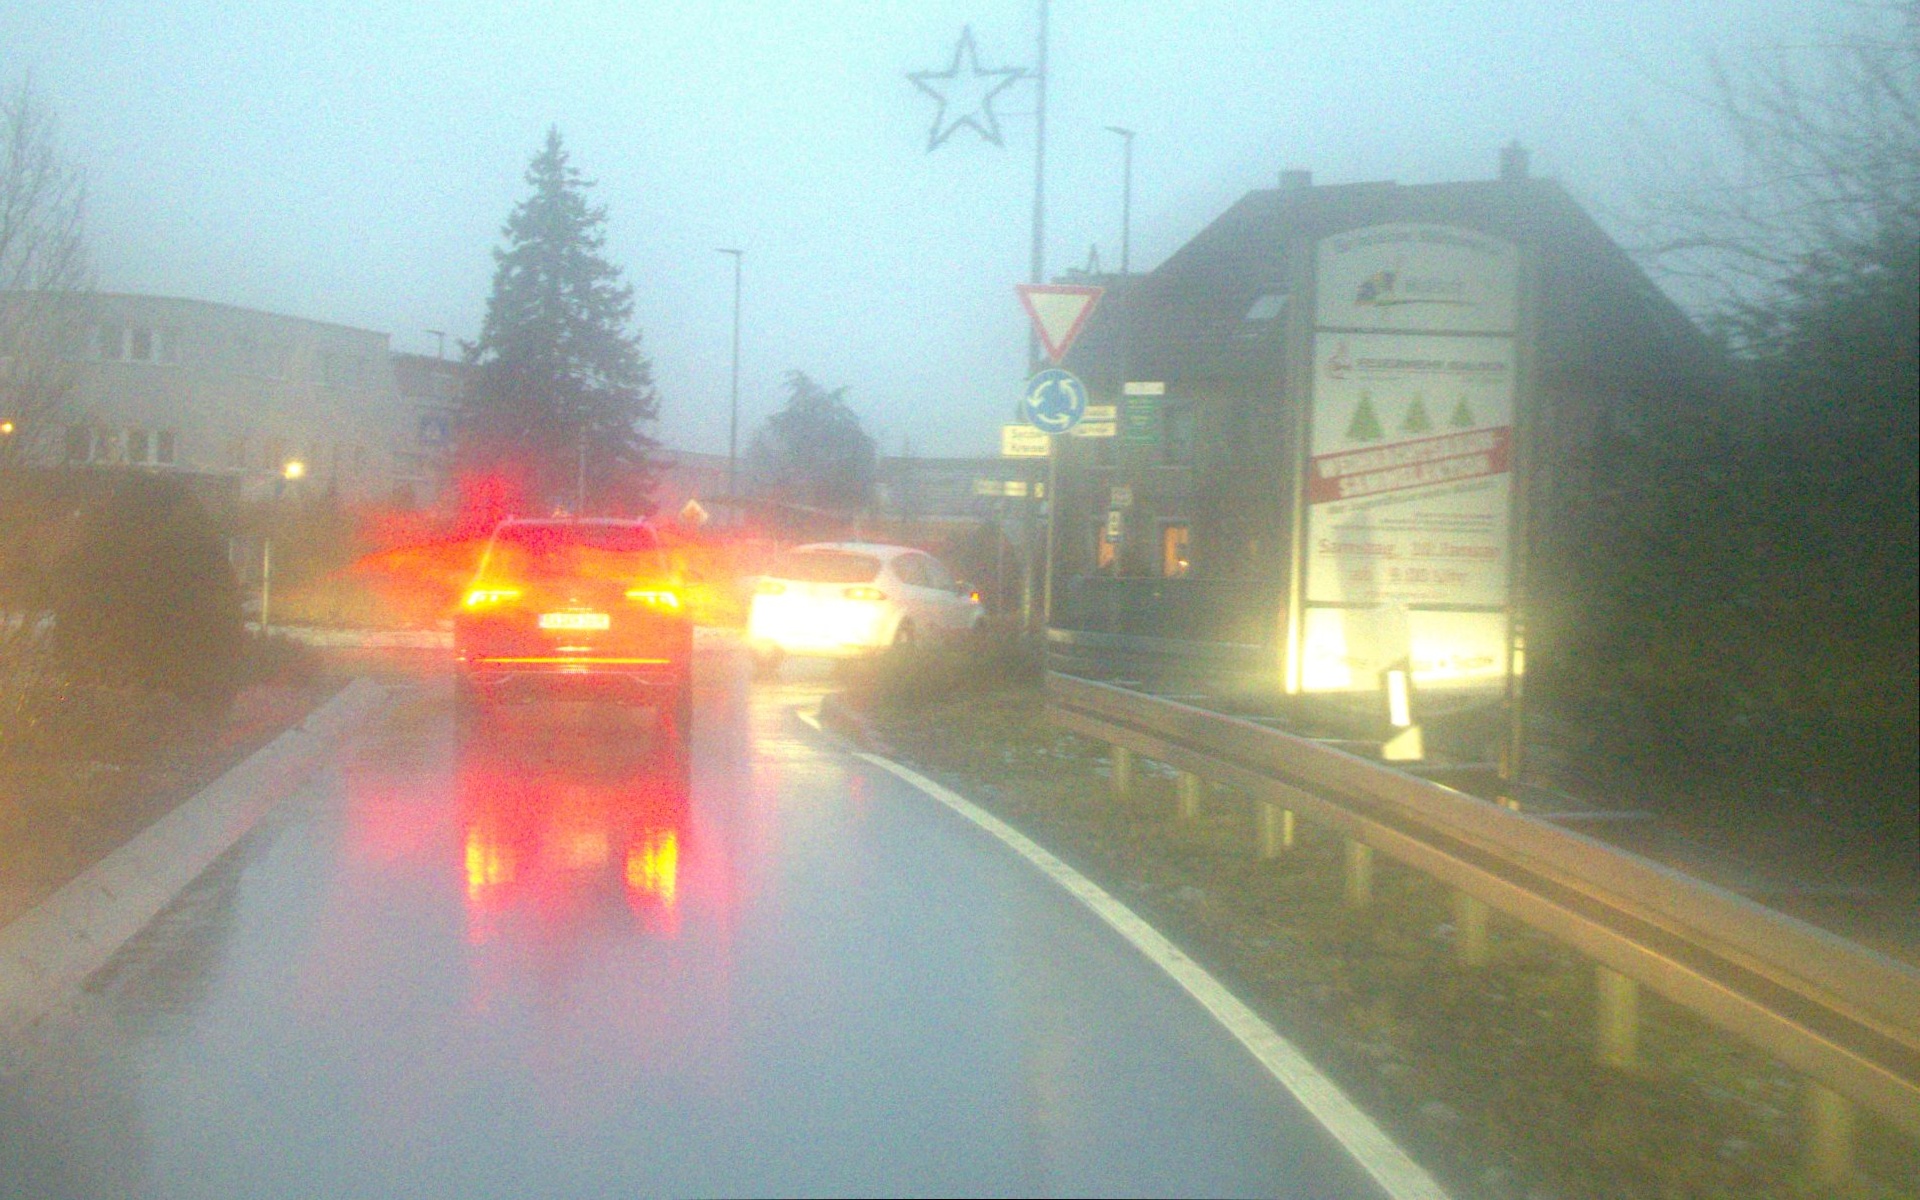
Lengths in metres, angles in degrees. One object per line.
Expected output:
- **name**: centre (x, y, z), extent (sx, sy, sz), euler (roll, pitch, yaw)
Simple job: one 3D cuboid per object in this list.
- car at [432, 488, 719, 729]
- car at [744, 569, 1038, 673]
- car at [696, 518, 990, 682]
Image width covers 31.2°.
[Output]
- **car**: centre (-3.130, 0.037, 27.322), extent (1.944, 1.712, 4.001), euler (2, 1, -10)
- **car**: centre (-1.150, 0.342, 55.639), extent (4.566, 1.609, 1.884), euler (0, -1, 38)
- **car**: centre (-1.251, -0.060, 39.090), extent (2.165, 1.683, 4.569), euler (2, 2, 14)
